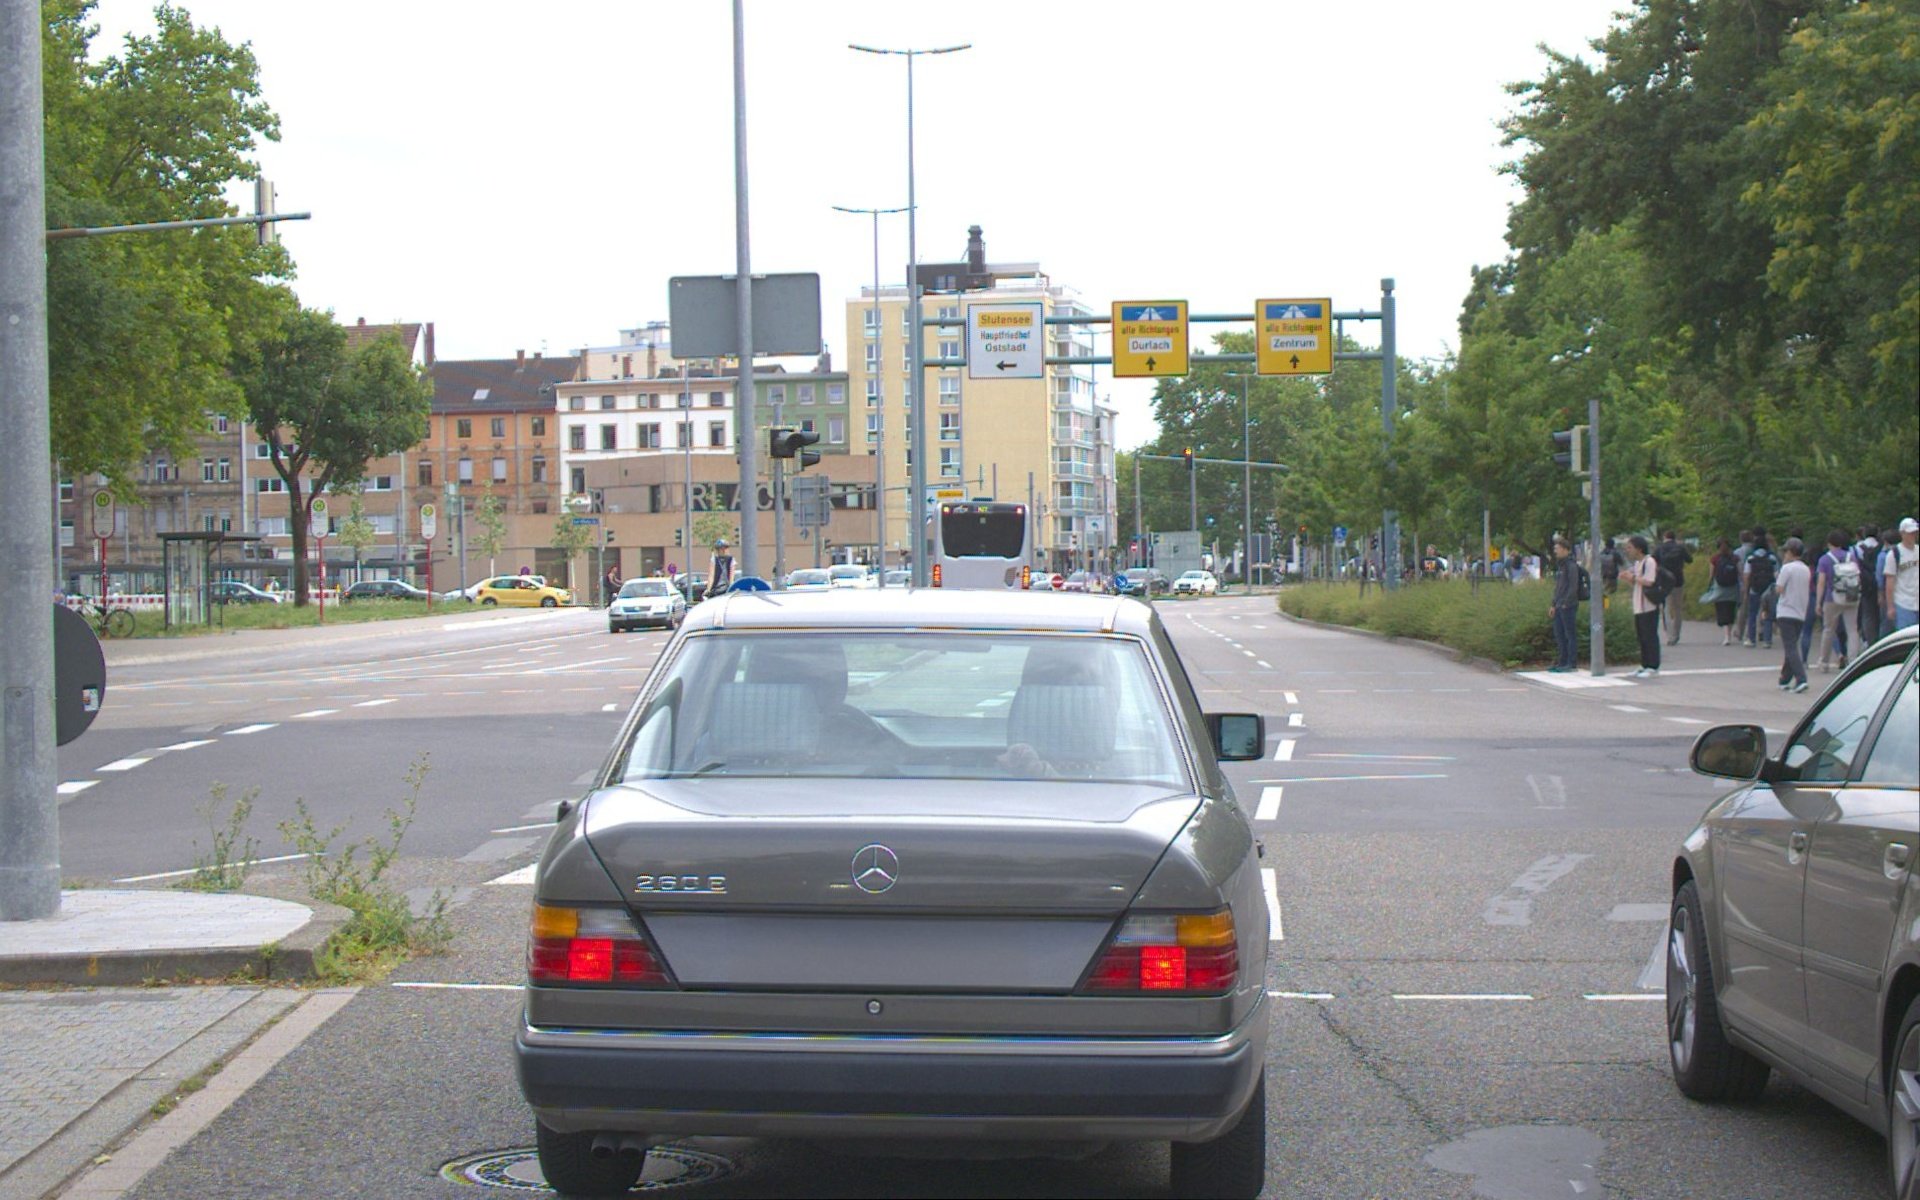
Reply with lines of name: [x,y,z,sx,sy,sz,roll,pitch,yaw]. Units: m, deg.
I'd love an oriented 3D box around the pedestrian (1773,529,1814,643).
pedestrian: [13.023,-0.220,53.713,0.484,1.757,0.664,-1,0,3]

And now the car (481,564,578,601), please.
car: [-18.027,-0.754,144.071,3.856,1.512,1.660,1,0,-2]

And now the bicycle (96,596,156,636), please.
bicycle: [-19.804,0.368,81.662,0.470,0.915,2.338,-1,1,10]

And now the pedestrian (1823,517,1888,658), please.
pedestrian: [11.231,-0.160,43.124,0.581,1.739,0.790,-1,0,1]

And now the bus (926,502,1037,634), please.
bus: [0.606,-0.871,92.859,2.831,3.379,8.183,-1,1,1]

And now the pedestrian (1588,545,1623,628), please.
pedestrian: [13.286,-0.281,70.780,0.587,1.677,0.748,-1,0,3]

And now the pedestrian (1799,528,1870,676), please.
pedestrian: [10.470,0.020,41.167,0.624,1.739,0.780,-1,0,1]

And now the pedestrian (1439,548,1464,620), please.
pedestrian: [13.709,-0.448,95.966,0.614,2.007,0.597,0,0,1]

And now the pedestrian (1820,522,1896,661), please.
pedestrian: [11.682,-0.116,44.744,0.656,1.760,0.958,-3,0,1]

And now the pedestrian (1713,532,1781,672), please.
pedestrian: [9.965,0.019,43.525,0.656,1.739,0.780,-1,0,1]

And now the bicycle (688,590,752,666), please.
bicycle: [-3.434,0.387,49.303,0.573,1.052,1.926,-1,1,6]

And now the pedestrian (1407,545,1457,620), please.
pedestrian: [11.676,-0.428,85.068,0.935,1.824,0.885,-1,0,30]

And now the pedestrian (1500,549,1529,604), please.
pedestrian: [14.973,-0.632,92.819,0.657,1.465,0.562,-1,1,0]

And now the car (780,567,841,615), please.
car: [-4.825,-0.312,111.366,1.801,1.484,4.289,-1,1,0]

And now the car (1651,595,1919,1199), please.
car: [2.859,0.728,8.301,1.724,1.452,3.736,-1,1,2]

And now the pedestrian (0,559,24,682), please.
pedestrian: [-14.027,0.306,49.917,0.758,1.776,0.722,0,-1,-21]

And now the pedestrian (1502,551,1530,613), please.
pedestrian: [15.596,-0.506,96.429,0.647,1.707,0.561,-1,0,18]

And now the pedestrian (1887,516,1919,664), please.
pedestrian: [11.486,-0.127,40.956,0.656,1.739,0.780,-1,0,1]

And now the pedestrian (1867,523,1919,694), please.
pedestrian: [10.394,0.093,37.527,0.644,1.846,0.829,0,0,-12]

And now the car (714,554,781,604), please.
car: [-7.124,-0.722,115.630,1.897,1.610,4.744,-1,1,0]

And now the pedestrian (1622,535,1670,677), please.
pedestrian: [8.460,0.072,42.415,0.454,1.729,0.637,-1,0,0]

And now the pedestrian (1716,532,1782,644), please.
pedestrian: [11.485,-0.174,50.057,0.775,1.597,0.812,-1,0,3]

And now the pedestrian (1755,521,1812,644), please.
pedestrian: [12.298,-0.259,51.341,0.656,1.815,0.812,-1,0,3]

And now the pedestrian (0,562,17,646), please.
pedestrian: [-19.258,0.085,69.128,0.560,1.662,0.627,0,-1,-14]

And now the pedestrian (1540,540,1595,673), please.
pedestrian: [7.979,0.080,45.165,0.601,1.729,0.654,-1,0,0]

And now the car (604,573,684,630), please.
car: [-8.641,0.021,94.330,1.761,1.484,4.546,-1,1,0]

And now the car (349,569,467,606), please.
car: [-23.073,-0.516,143.825,4.668,1.470,1.660,1,0,-2]

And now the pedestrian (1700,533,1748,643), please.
pedestrian: [11.565,-0.189,52.060,0.555,1.649,0.753,-1,0,3]

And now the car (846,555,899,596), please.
car: [-3.355,-0.938,132.063,1.802,1.506,4.103,-1,0,2]

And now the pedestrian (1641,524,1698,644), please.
pedestrian: [10.911,-0.244,52.893,0.693,1.815,0.954,-1,0,3]

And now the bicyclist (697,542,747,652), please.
bicyclist: [-3.415,-0.044,49.341,0.572,1.568,0.699,-1,0,7]

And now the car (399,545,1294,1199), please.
car: [-0.150,0.623,8.901,1.761,1.484,4.171,-1,1,2]

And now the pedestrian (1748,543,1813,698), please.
pedestrian: [9.043,0.222,37.903,0.545,1.681,0.637,-1,0,0]
